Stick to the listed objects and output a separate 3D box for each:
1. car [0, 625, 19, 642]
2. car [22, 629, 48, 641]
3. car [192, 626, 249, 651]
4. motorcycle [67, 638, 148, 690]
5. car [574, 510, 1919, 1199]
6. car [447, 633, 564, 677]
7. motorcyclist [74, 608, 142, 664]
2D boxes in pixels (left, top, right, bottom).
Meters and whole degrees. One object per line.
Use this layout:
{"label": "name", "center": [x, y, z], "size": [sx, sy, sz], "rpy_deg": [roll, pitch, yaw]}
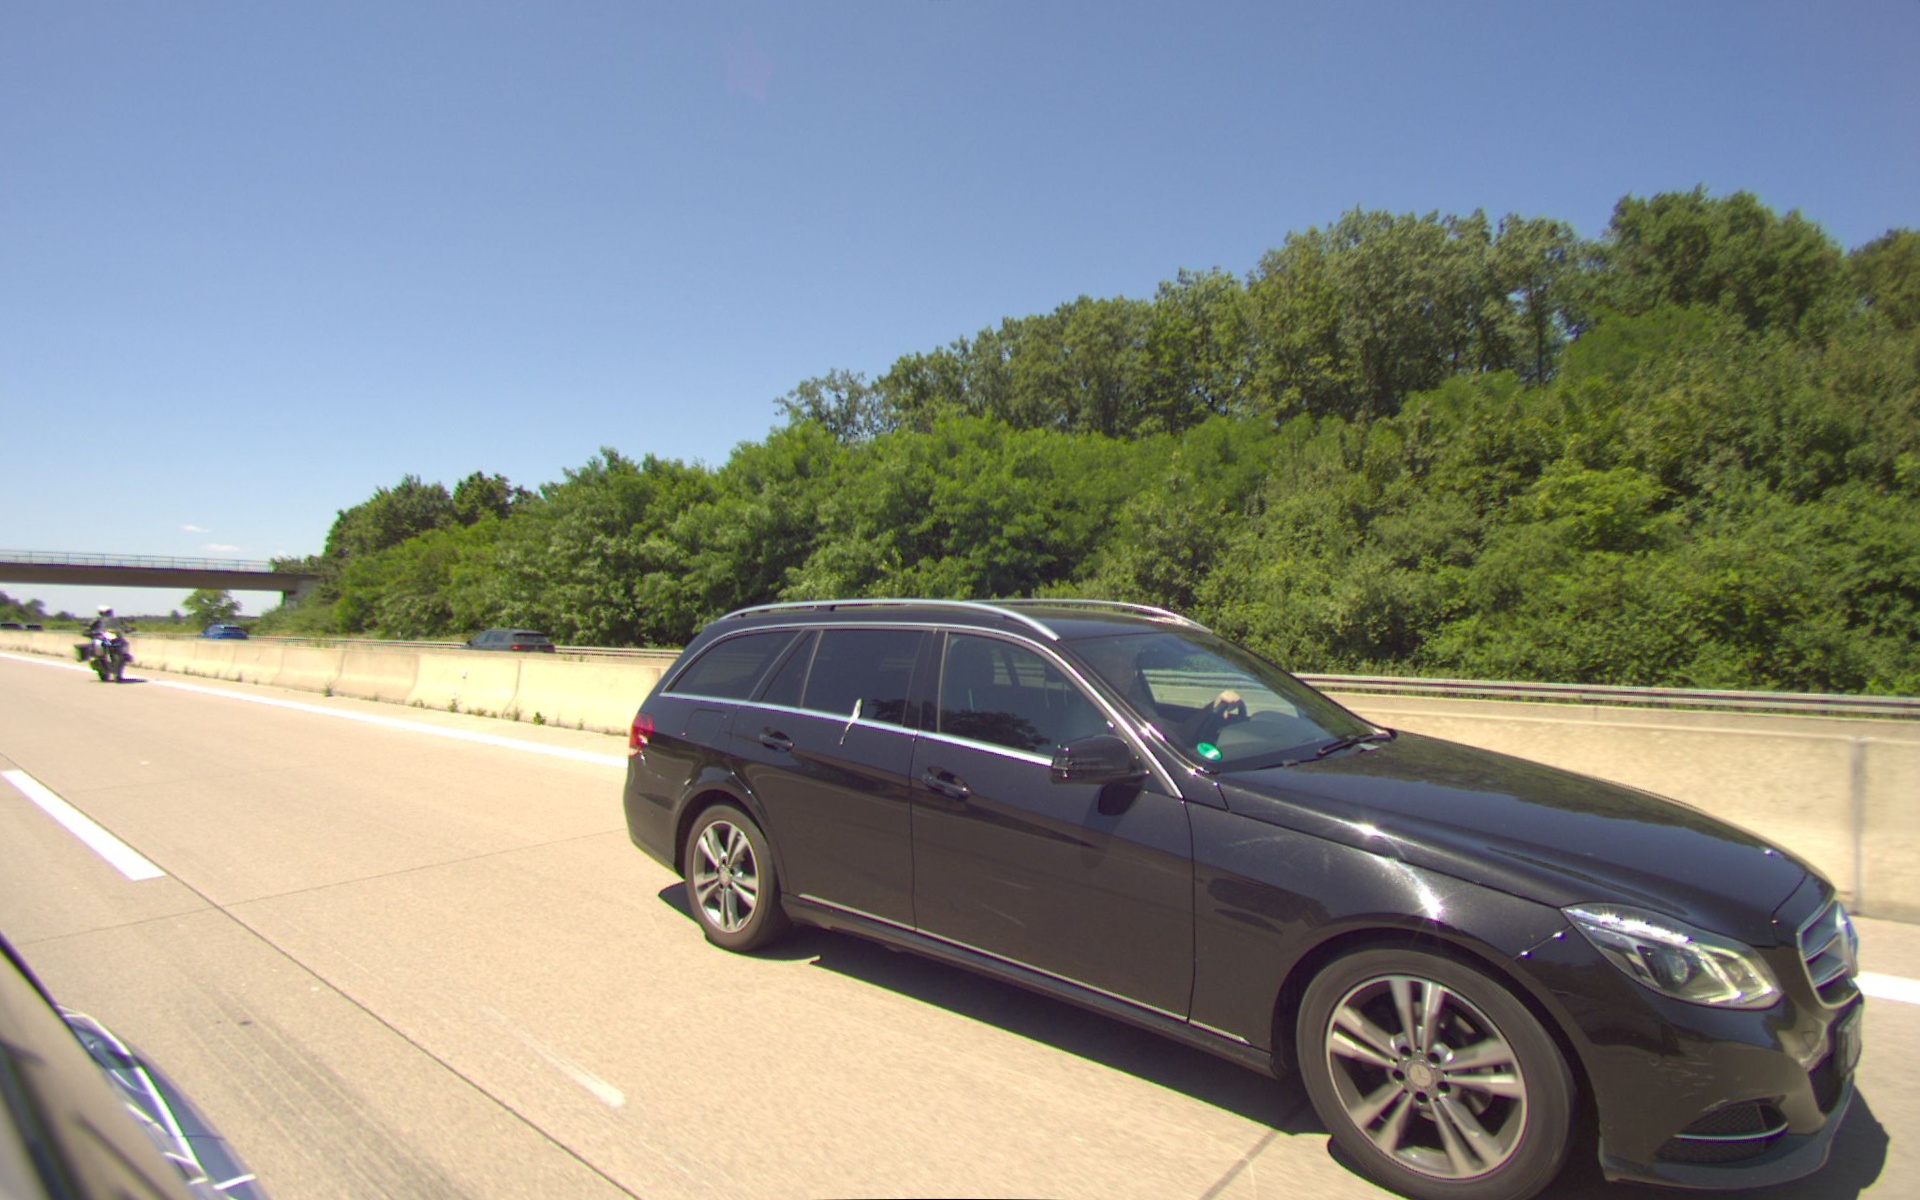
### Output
{"label": "car", "center": [-79.785, 2.764, 84.308], "size": [4.013, 1.427, 1.681], "rpy_deg": [-1, -2, 41]}
{"label": "car", "center": [-97.938, 3.709, 107.122], "size": [3.629, 1.329, 1.549], "rpy_deg": [-2, -2, 40]}
{"label": "car", "center": [-43.799, 2.240, 59.894], "size": [4.504, 1.396, 1.692], "rpy_deg": [-1, -2, 40]}
{"label": "motorcycle", "center": [-19.002, 1.391, 22.535], "size": [2.411, 1.056, 1.011], "rpy_deg": [-2, -1, 41]}
{"label": "car", "center": [0.809, 0.642, 3.880], "size": [5.600, 1.484, 1.871], "rpy_deg": [-2, -2, 41]}
{"label": "car", "center": [-15.397, 1.805, 34.174], "size": [4.856, 1.325, 1.660], "rpy_deg": [-1, -2, 40]}
{"label": "motorcyclist", "center": [-19.026, 0.805, 22.603], "size": [0.911, 1.218, 1.014], "rpy_deg": [-2, -2, 41]}
